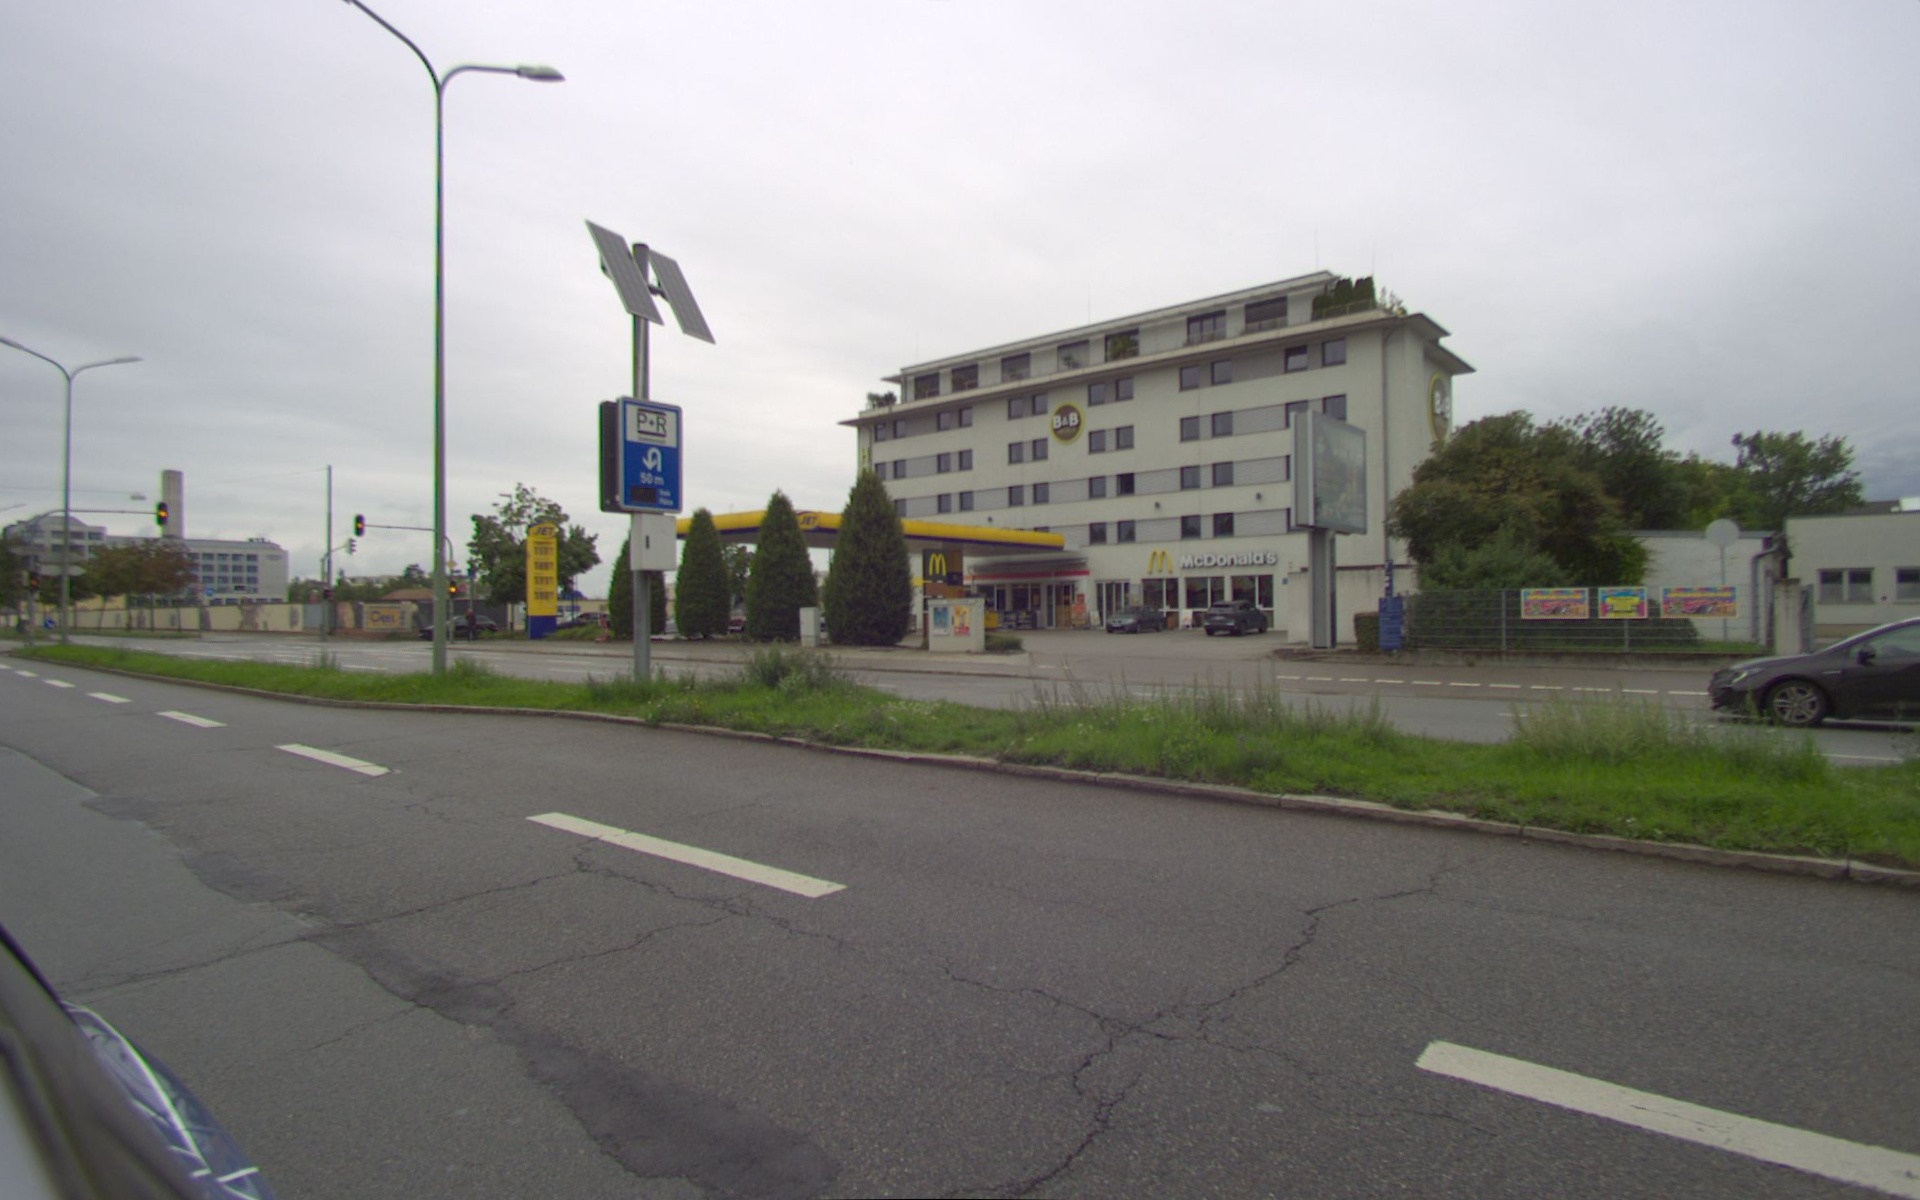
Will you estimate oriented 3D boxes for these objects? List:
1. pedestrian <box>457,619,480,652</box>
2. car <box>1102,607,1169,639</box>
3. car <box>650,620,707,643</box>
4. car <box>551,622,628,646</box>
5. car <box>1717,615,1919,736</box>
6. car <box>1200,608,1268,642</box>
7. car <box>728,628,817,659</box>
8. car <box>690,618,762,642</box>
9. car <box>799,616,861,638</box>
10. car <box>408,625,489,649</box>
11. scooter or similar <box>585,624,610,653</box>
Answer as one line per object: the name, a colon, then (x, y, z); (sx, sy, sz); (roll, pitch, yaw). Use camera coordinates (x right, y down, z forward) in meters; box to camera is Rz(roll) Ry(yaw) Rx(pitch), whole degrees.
pedestrian: (-24.720, 1.791, 50.900); (0.687, 1.627, 0.794); (-2, 0, 40)
car: (9.075, 1.169, 52.237); (1.704, 1.599, 3.948); (-2, -2, 39)
car: (-18.510, 2.079, 66.523); (3.974, 1.497, 1.607); (-2, -3, 39)
car: (-25.359, 2.327, 69.454); (2.000, 1.544, 4.567); (-2, -1, 43)
car: (12.141, 0.898, 12.262); (4.650, 1.412, 1.973); (-2, -3, 40)
car: (13.246, 1.200, 48.744); (1.704, 1.599, 3.948); (-2, -2, 39)
car: (-8.351, 1.913, 44.930); (3.996, 1.342, 1.776); (-2, -3, 40)
car: (-14.344, 1.837, 61.986); (4.347, 1.394, 1.686); (-1, -3, 31)
car: (-8.994, 1.901, 69.904); (4.190, 1.489, 1.883); (-2, -3, 40)
car: (-32.696, 2.353, 64.718); (2.000, 1.439, 4.203); (-2, -1, 43)
scooter or similar: (-15.892, 1.687, 44.358); (0.352, 1.252, 1.546); (-3, 0, -44)
